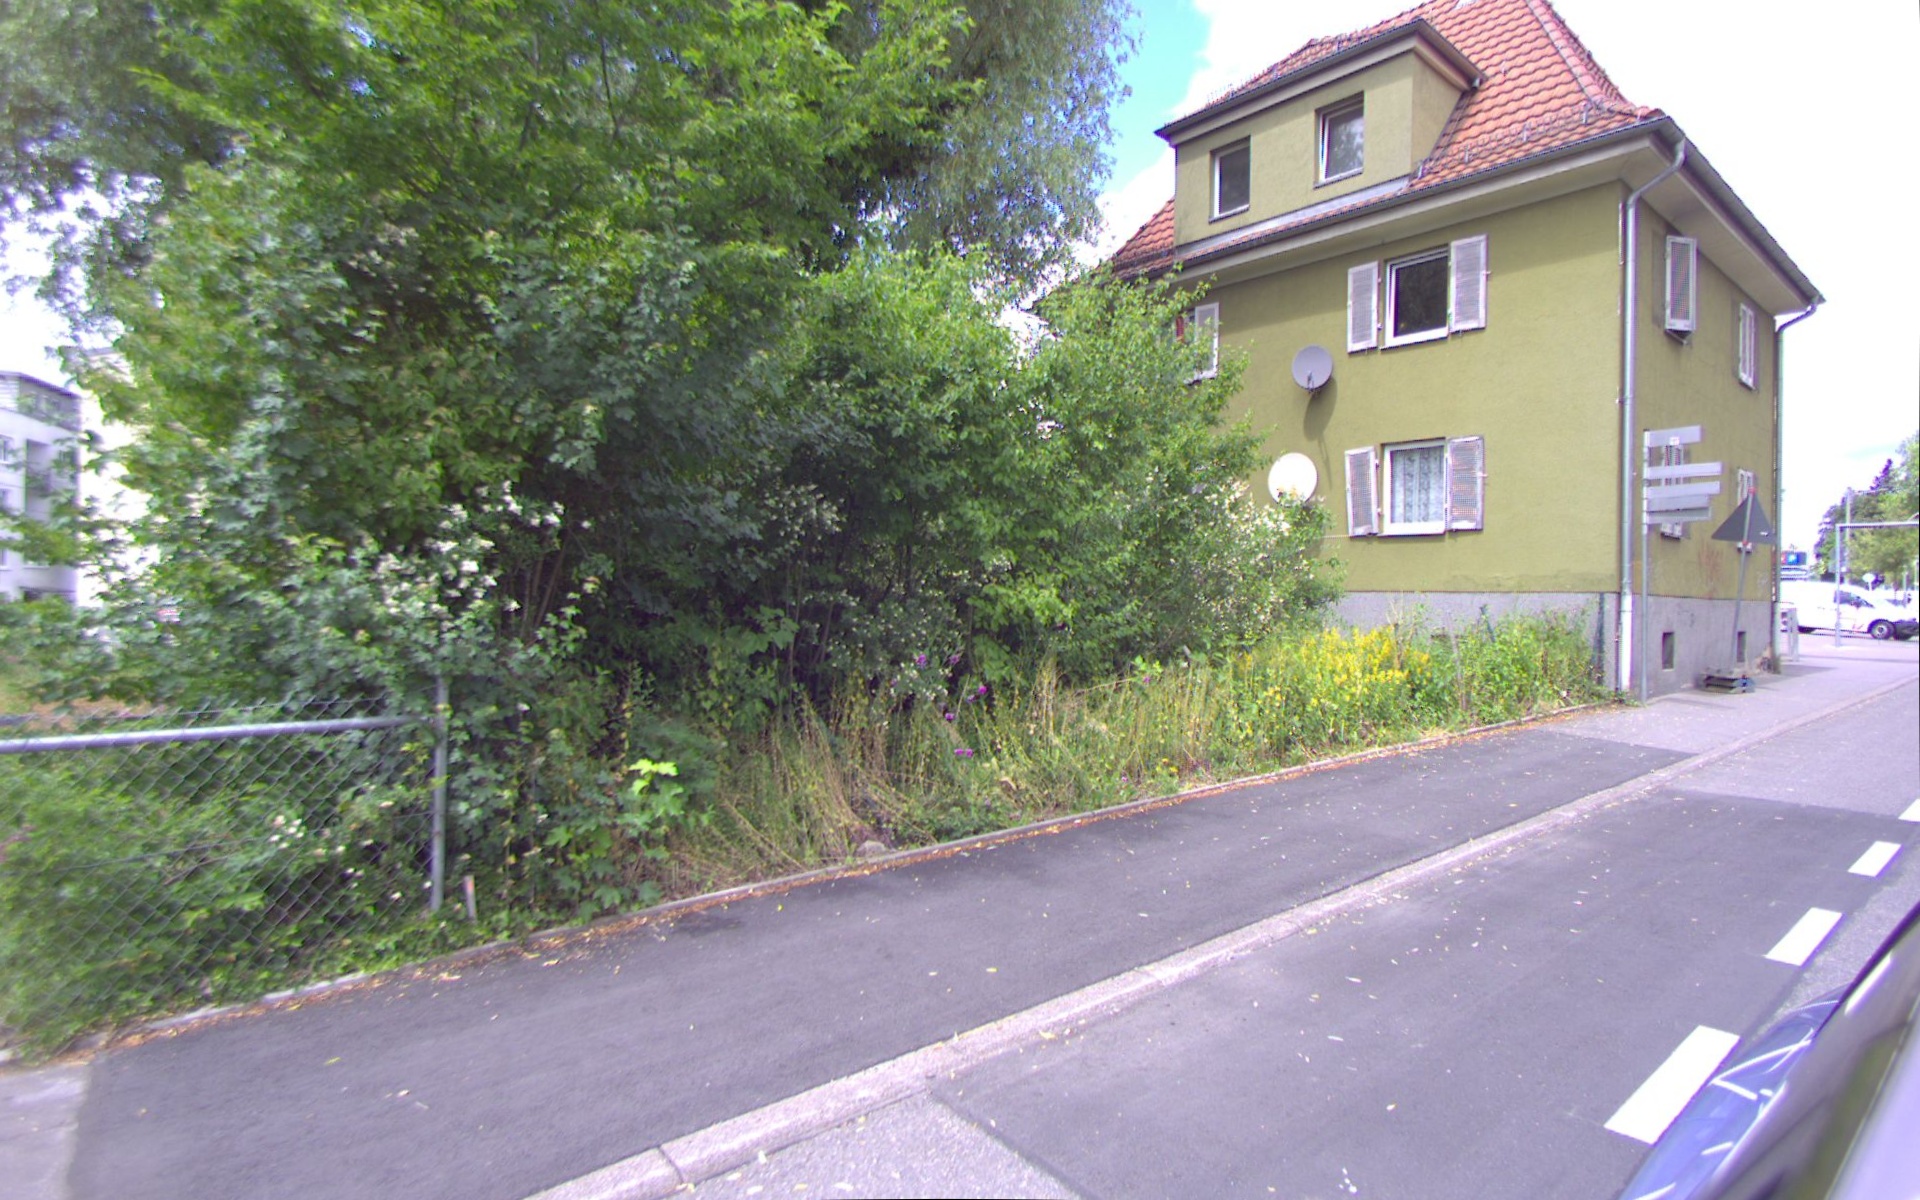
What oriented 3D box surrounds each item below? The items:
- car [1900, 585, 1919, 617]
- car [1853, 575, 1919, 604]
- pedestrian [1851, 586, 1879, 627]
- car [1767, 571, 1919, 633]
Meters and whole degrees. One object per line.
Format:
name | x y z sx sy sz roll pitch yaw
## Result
car | 49.406 0.052 51.633 3.932 1.529 1.797 -2 3 -42
car | 62.829 -0.728 67.619 1.762 1.820 4.513 0 2 -12
pedestrian | 34.966 0.238 39.125 0.726 1.572 1.042 1 0 39
car | 30.988 0.012 35.022 1.960 2.019 4.375 0 1 -31
